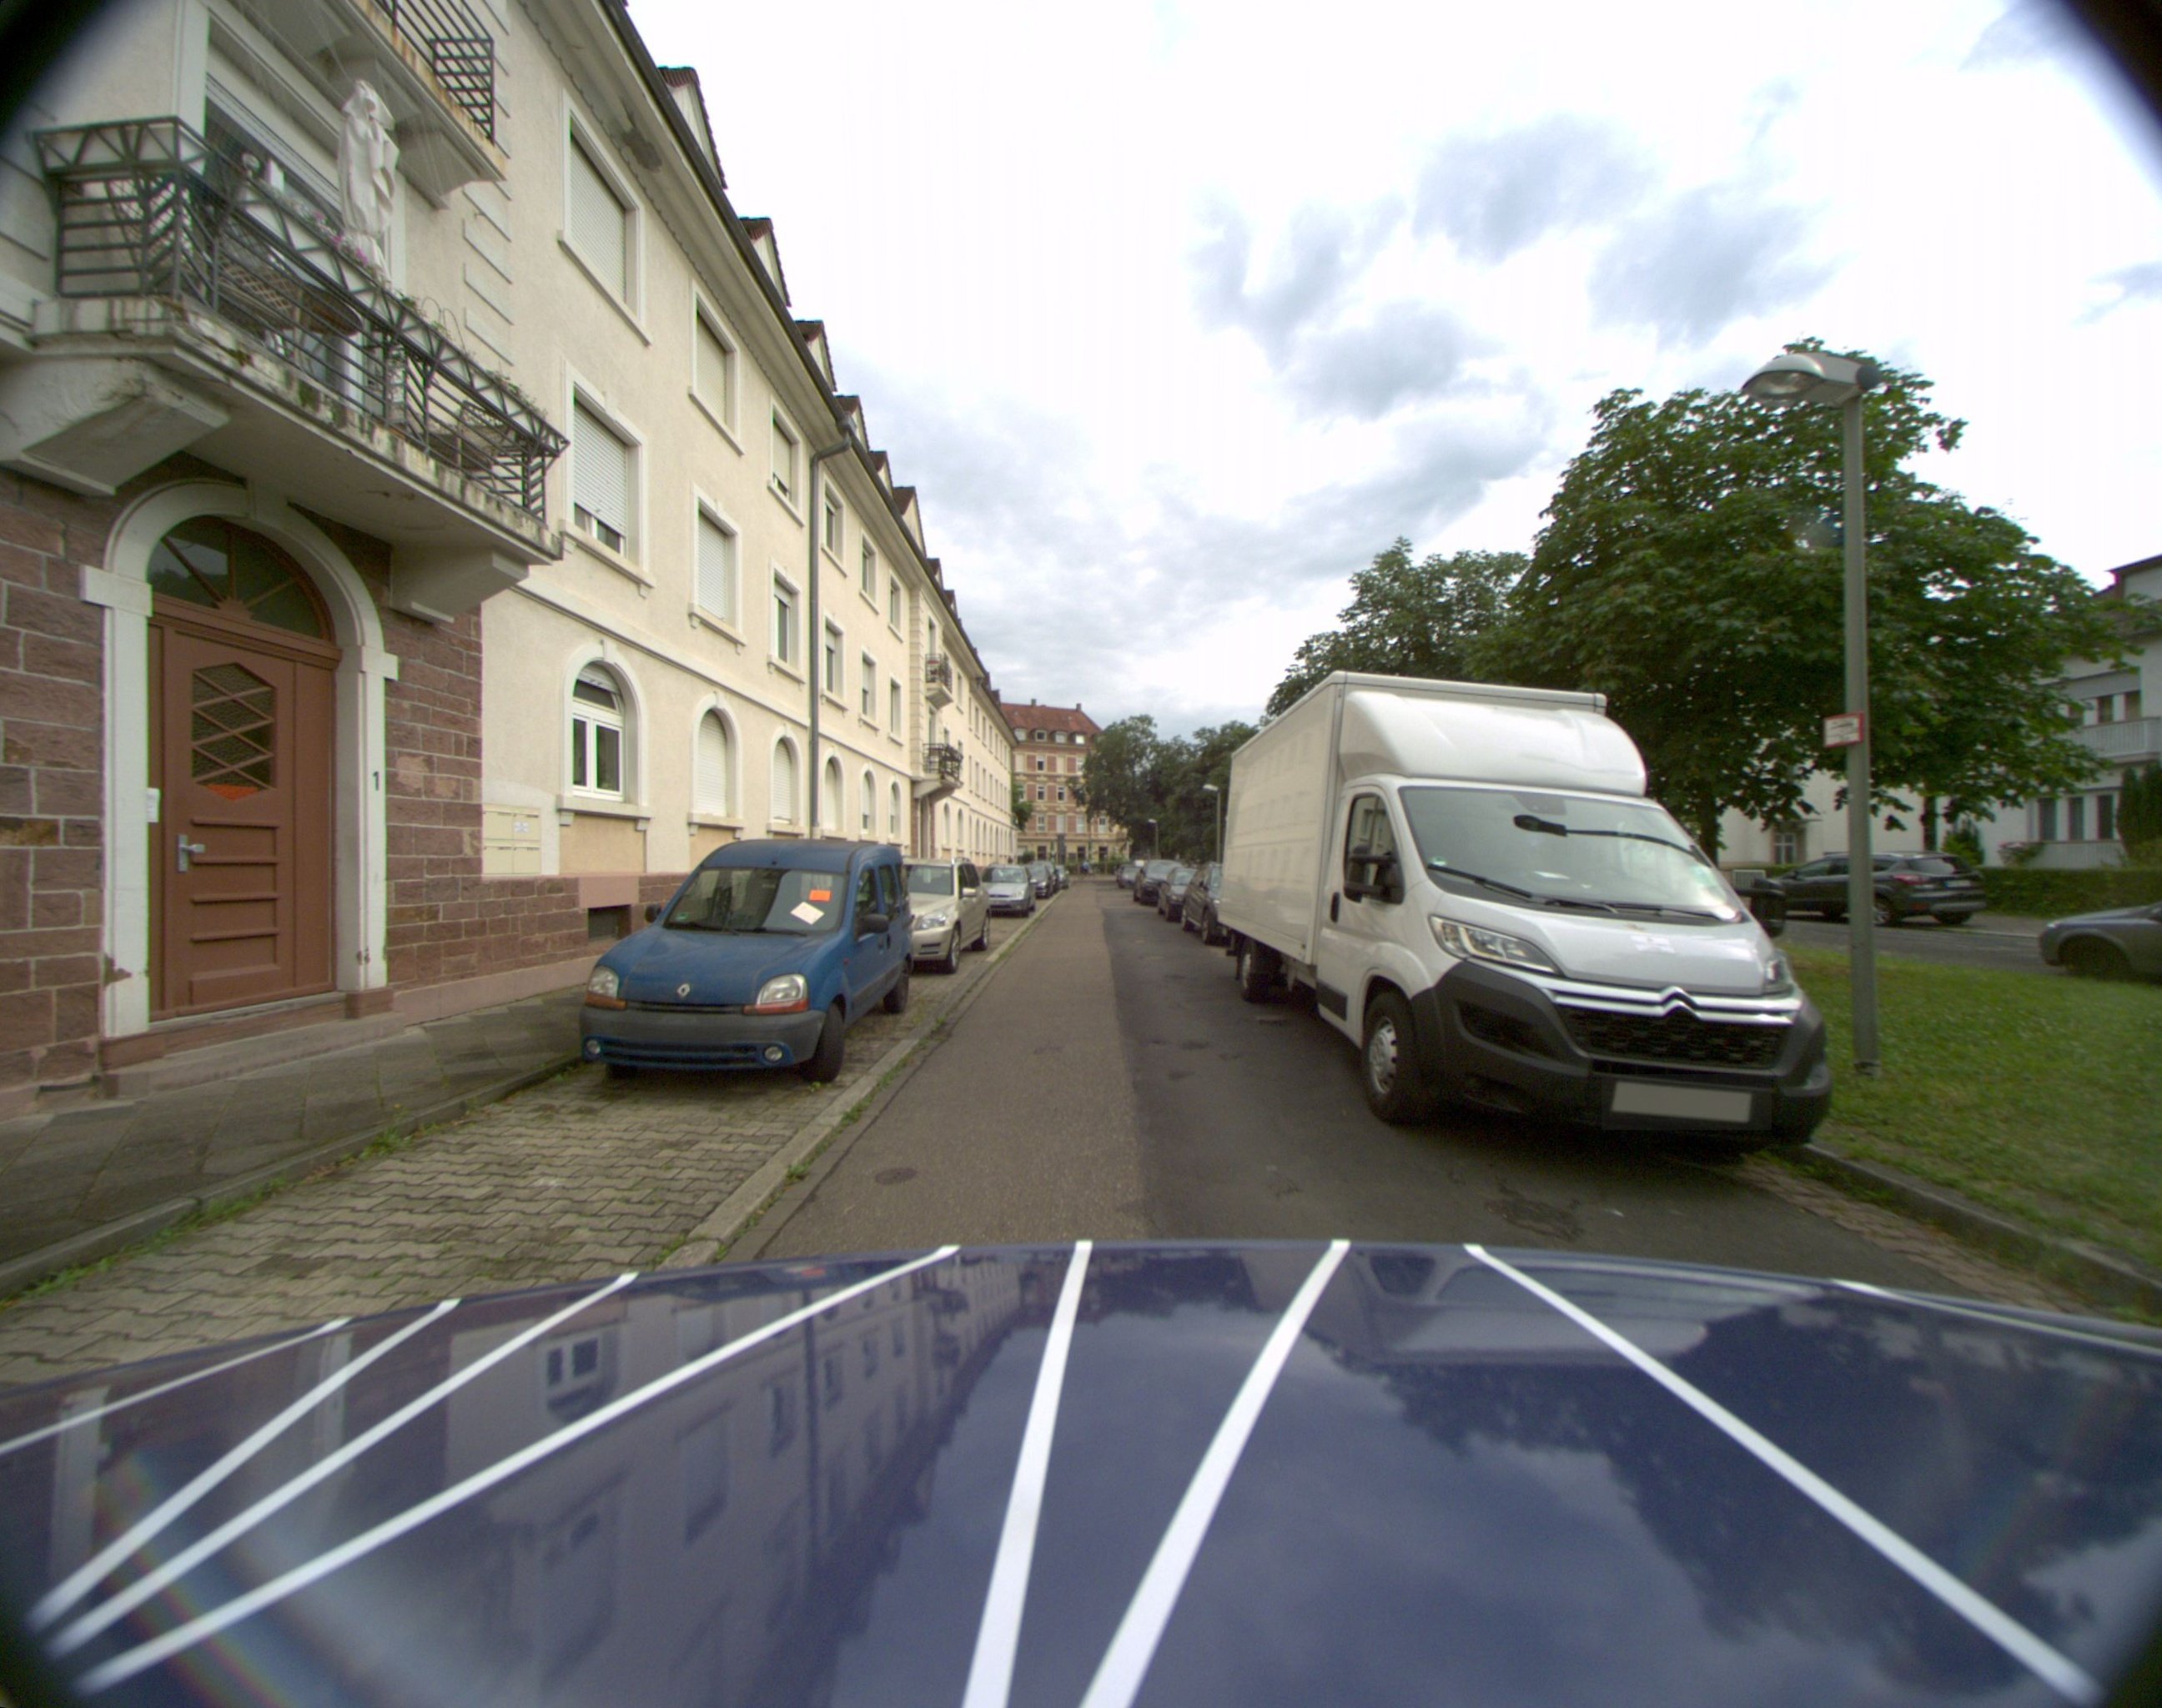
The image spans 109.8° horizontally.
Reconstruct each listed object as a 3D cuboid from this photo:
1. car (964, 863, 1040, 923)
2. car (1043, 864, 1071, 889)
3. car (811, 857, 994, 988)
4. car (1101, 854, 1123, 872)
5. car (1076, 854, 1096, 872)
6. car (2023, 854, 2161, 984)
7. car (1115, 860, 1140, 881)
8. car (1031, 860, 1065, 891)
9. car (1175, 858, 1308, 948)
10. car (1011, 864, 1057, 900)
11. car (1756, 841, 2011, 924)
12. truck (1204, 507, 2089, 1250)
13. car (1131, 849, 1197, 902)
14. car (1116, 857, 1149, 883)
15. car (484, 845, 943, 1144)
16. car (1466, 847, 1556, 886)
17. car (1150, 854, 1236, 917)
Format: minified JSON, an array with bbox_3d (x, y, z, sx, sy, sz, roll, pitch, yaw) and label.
[{"bbox_3d":[-2.218,1.079,22.326,1.686,1.505,3.955,3,0,1],"label":"car"},{"bbox_3d":[-1.403,1.336,45.949,1.455,1.388,4.011,3,0,1],"label":"car"},{"bbox_3d":[-2.560,0.909,11.959,1.775,1.628,4.129,3,0,1],"label":"car"},{"bbox_3d":[2.771,0.798,68.310,1.643,1.570,4.209,3,0,-1],"label":"car"},{"bbox_3d":[0.462,0.871,71.816,1.643,1.570,4.209,3,0,-1],"label":"car"},{"bbox_3d":[13.601,0.759,8.245,1.804,1.479,4.007,-2,0,1],"label":"car"},{"bbox_3d":[3.710,1.313,60.993,1.643,1.570,4.209,3,0,-1],"label":"car"},{"bbox_3d":[-1.748,1.109,41.123,1.609,1.575,4.010,-1,0,1],"label":"car"},{"bbox_3d":[3.054,0.870,15.291,1.643,1.505,4.151,3,0,-1],"label":"car"},{"bbox_3d":[-1.986,1.180,33.132,1.609,1.392,4.011,3,0,1],"label":"car"},{"bbox_3d":[19.086,0.616,18.396,1.804,1.664,4.101,-4,0,1],"label":"car"},{"bbox_3d":[2.941,0.130,6.745,2.444,2.939,7.113,4,0,1],"label":"truck"},{"bbox_3d":[2.972,0.755,27.960,1.785,1.697,4.315,3,0,-1],"label":"car"},{"bbox_3d":[3.169,0.951,47.199,1.643,1.570,4.209,-1,0,-1],"label":"car"},{"bbox_3d":[-2.624,0.865,6.727,1.942,1.774,4.186,1,0,1],"label":"car"},{"bbox_3d":[19.227,0.517,34.175,1.804,1.597,4.007,-2,0,1],"label":"car"},{"bbox_3d":[2.894,0.771,20.427,1.643,1.505,4.151,0,0,-1],"label":"car"}]
